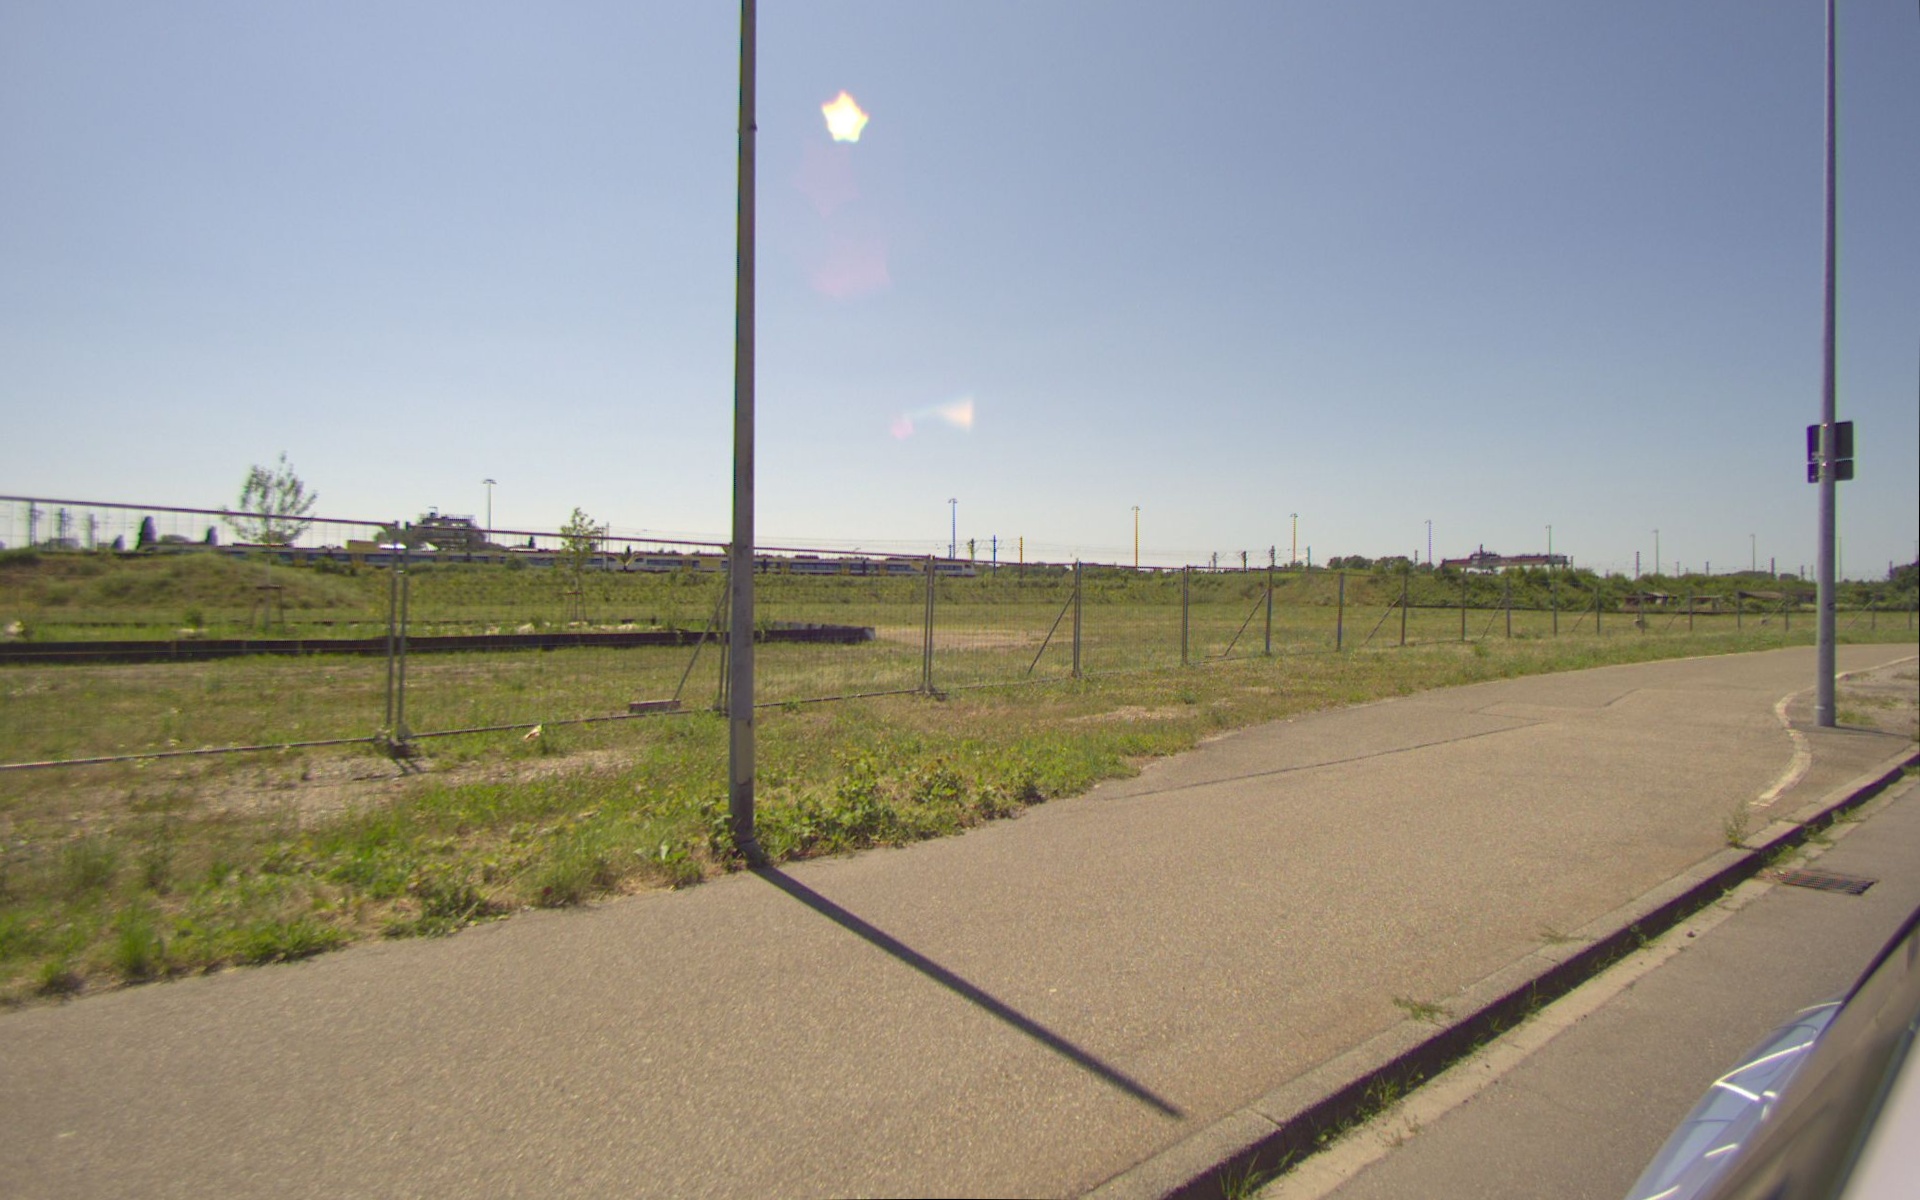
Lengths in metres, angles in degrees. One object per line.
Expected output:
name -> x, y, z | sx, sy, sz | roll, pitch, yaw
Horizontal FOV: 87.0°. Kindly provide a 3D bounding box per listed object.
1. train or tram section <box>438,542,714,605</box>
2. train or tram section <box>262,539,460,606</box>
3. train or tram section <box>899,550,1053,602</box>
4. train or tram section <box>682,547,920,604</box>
train or tram section -> -65.873, -4.361, 176.074 | 43.859, 10.052, 9.615 | 0, 0, -25
train or tram section -> -95.108, -4.201, 162.299 | 26.444, 10.052, 9.616 | 0, 0, -25
train or tram section -> 3.428, -4.759, 208.393 | 30.567, 10.052, 9.616 | 0, 0, -25
train or tram section -> -29.789, -4.494, 192.802 | 43.859, 10.052, 9.615 | 0, 0, -25
